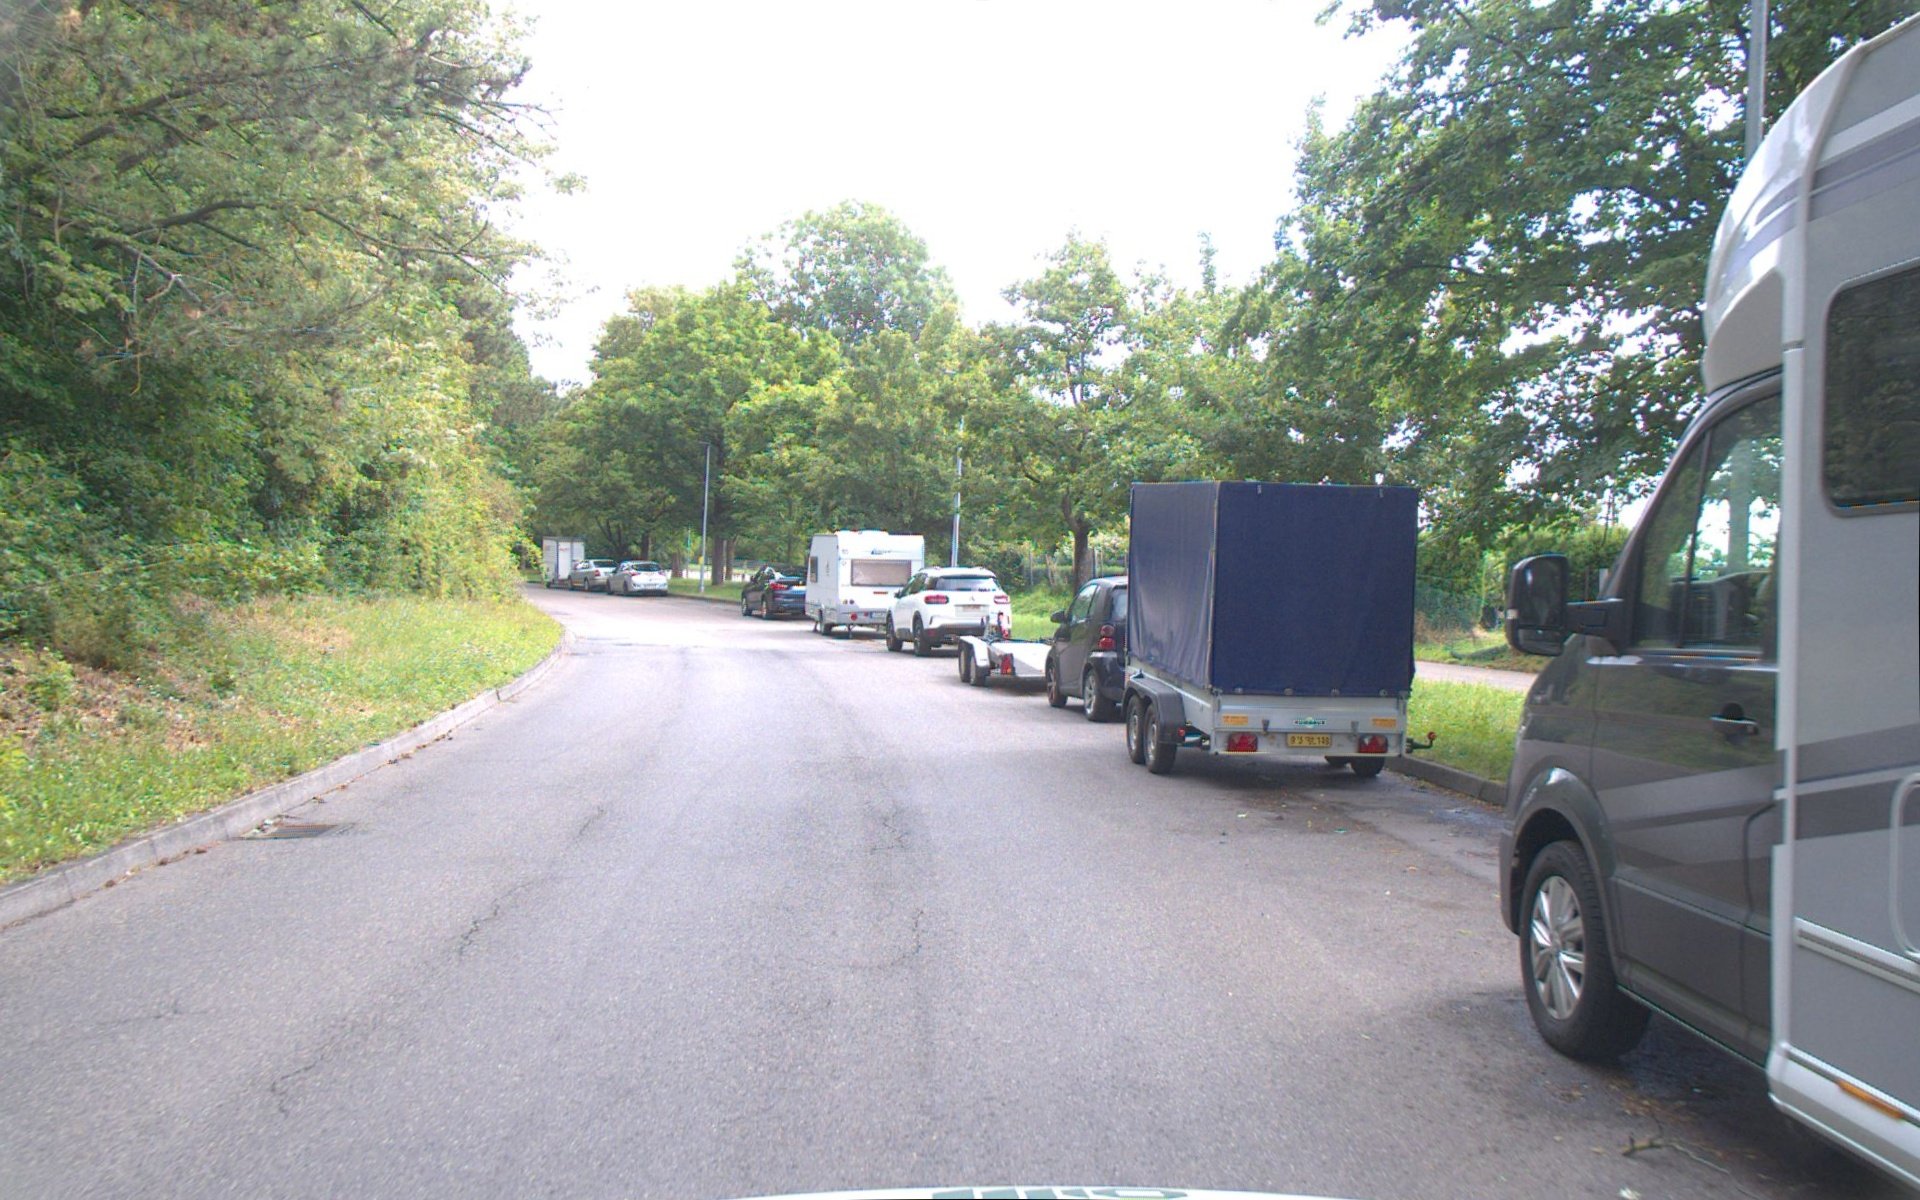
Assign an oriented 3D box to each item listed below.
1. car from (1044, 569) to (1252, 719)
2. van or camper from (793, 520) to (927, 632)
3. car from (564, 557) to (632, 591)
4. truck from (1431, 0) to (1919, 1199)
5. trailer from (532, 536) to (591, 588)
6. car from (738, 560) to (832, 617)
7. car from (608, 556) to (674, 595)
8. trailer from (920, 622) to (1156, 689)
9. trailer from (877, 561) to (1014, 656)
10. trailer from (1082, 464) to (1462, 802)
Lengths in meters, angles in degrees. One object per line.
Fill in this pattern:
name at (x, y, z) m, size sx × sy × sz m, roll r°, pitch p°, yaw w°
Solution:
car at (2.094, 0.489, 19.257) m, size 1.696 × 1.549 × 3.400 m, roll 2°, pitch -1°, yaw -6°
van or camper at (-2.654, -0.613, 42.067) m, size 2.126 × 2.580 × 6.006 m, roll 2°, pitch 0°, yaw -16°
car at (-16.738, -1.221, 76.334) m, size 1.724 × 1.551 × 4.587 m, roll 0°, pitch 1°, yaw -31°
truck at (3.153, 0.060, 3.240) m, size 2.257 × 2.984 × 7.031 m, roll 0°, pitch 1°, yaw -2°
trailer at (-19.506, -1.866, 80.882) m, size 1.743 × 2.469 × 3.845 m, roll 0°, pitch 2°, yaw -32°
car at (-5.490, -0.382, 51.459) m, size 1.822 × 1.671 × 4.503 m, roll 0°, pitch 1°, yaw -21°
car at (-13.611, -1.026, 70.424) m, size 1.877 × 1.502 × 4.029 m, roll 2°, pitch -1°, yaw -24°
trailer at (0.963, 0.773, 24.883) m, size 2.067 × 0.662 × 6.384 m, roll 2°, pitch 0°, yaw -11°
trailer at (-0.382, 0.141, 33.206) m, size 1.742 × 1.761 × 4.634 m, roll 0°, pitch 0°, yaw -14°
trailer at (2.414, 0.116, 14.189) m, size 2.065 × 2.402 × 4.698 m, roll 0°, pitch 3°, yaw -4°
